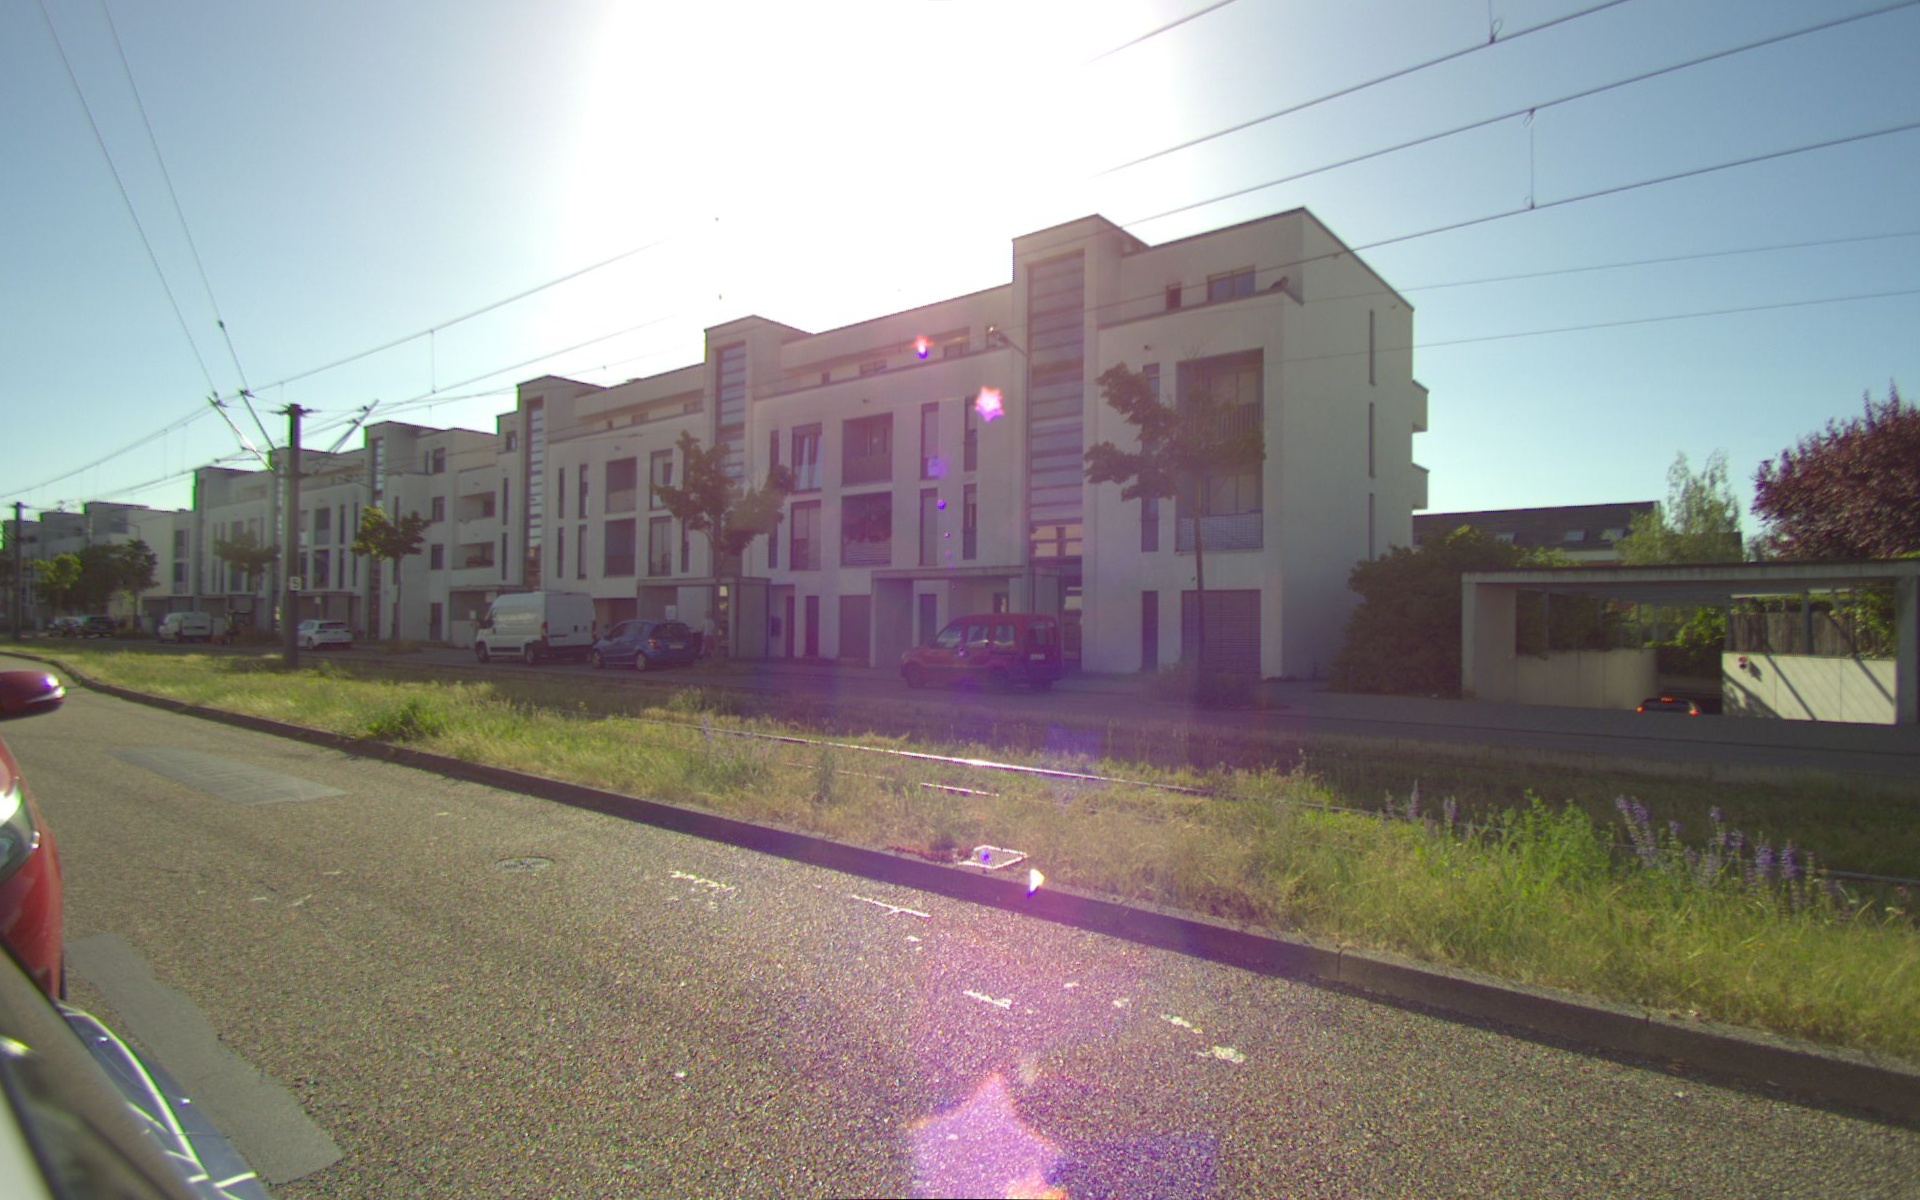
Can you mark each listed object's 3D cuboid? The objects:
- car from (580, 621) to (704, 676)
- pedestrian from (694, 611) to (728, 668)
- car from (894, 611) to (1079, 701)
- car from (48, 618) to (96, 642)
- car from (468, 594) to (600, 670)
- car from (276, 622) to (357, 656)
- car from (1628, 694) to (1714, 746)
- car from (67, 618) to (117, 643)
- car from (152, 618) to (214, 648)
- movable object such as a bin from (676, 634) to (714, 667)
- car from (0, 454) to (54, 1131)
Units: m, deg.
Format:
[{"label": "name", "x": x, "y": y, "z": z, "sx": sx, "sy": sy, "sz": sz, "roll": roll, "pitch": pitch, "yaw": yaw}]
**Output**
[{"label": "car", "x": -9.992, "y": 1.461, "z": 31.742, "sx": 3.833, "sy": 1.556, "sz": 1.973, "roll": -1, "pitch": 0, "yaw": 40}, {"label": "pedestrian", "x": -8.170, "y": 1.288, "z": 33.223, "sx": 0.785, "sy": 1.836, "sz": 0.766, "roll": -1, "pitch": 0, "yaw": 41}, {"label": "car", "x": 0.546, "y": 1.181, "z": 23.021, "sx": 3.895, "sy": 1.842, "sz": 1.972, "roll": -1, "pitch": 0, "yaw": 43}, {"label": "car", "x": -67.512, "y": 2.269, "z": 76.934, "sx": 4.277, "sy": 1.693, "sz": 1.900, "roll": -1, "pitch": 0, "yaw": 37}, {"label": "car", "x": -15.186, "y": 1.088, "z": 35.947, "sx": 5.193, "sy": 2.491, "sz": 2.197, "roll": -1, "pitch": 0, "yaw": 40}, {"label": "car", "x": -31.127, "y": 1.852, "z": 48.902, "sx": 4.277, "sy": 1.517, "sz": 1.900, "roll": -1, "pitch": 0, "yaw": 37}, {"label": "car", "x": 20.896, "y": 3.532, "z": 29.707, "sx": 1.576, "sy": 1.337, "sz": 3.944, "roll": -2, "pitch": -7, "yaw": 42}, {"label": "car", "x": -62.967, "y": 2.179, "z": 73.410, "sx": 4.277, "sy": 1.693, "sz": 1.900, "roll": -1, "pitch": 0, "yaw": 37}, {"label": "car", "x": -47.346, "y": 1.975, "z": 61.628, "sx": 4.277, "sy": 1.693, "sz": 1.900, "roll": -1, "pitch": 0, "yaw": 37}, {"label": "movable object such as a bin", "x": -8.862, "y": 1.682, "z": 33.837, "sx": 1.083, "sy": 1.062, "sz": 0.719, "roll": -1, "pitch": 0, "yaw": 42}, {"label": "car", "x": -4.876, "y": 0.559, "z": 3.666, "sx": 4.505, "sy": 1.868, "sz": 1.850, "roll": -1, "pitch": 0, "yaw": 41}]
